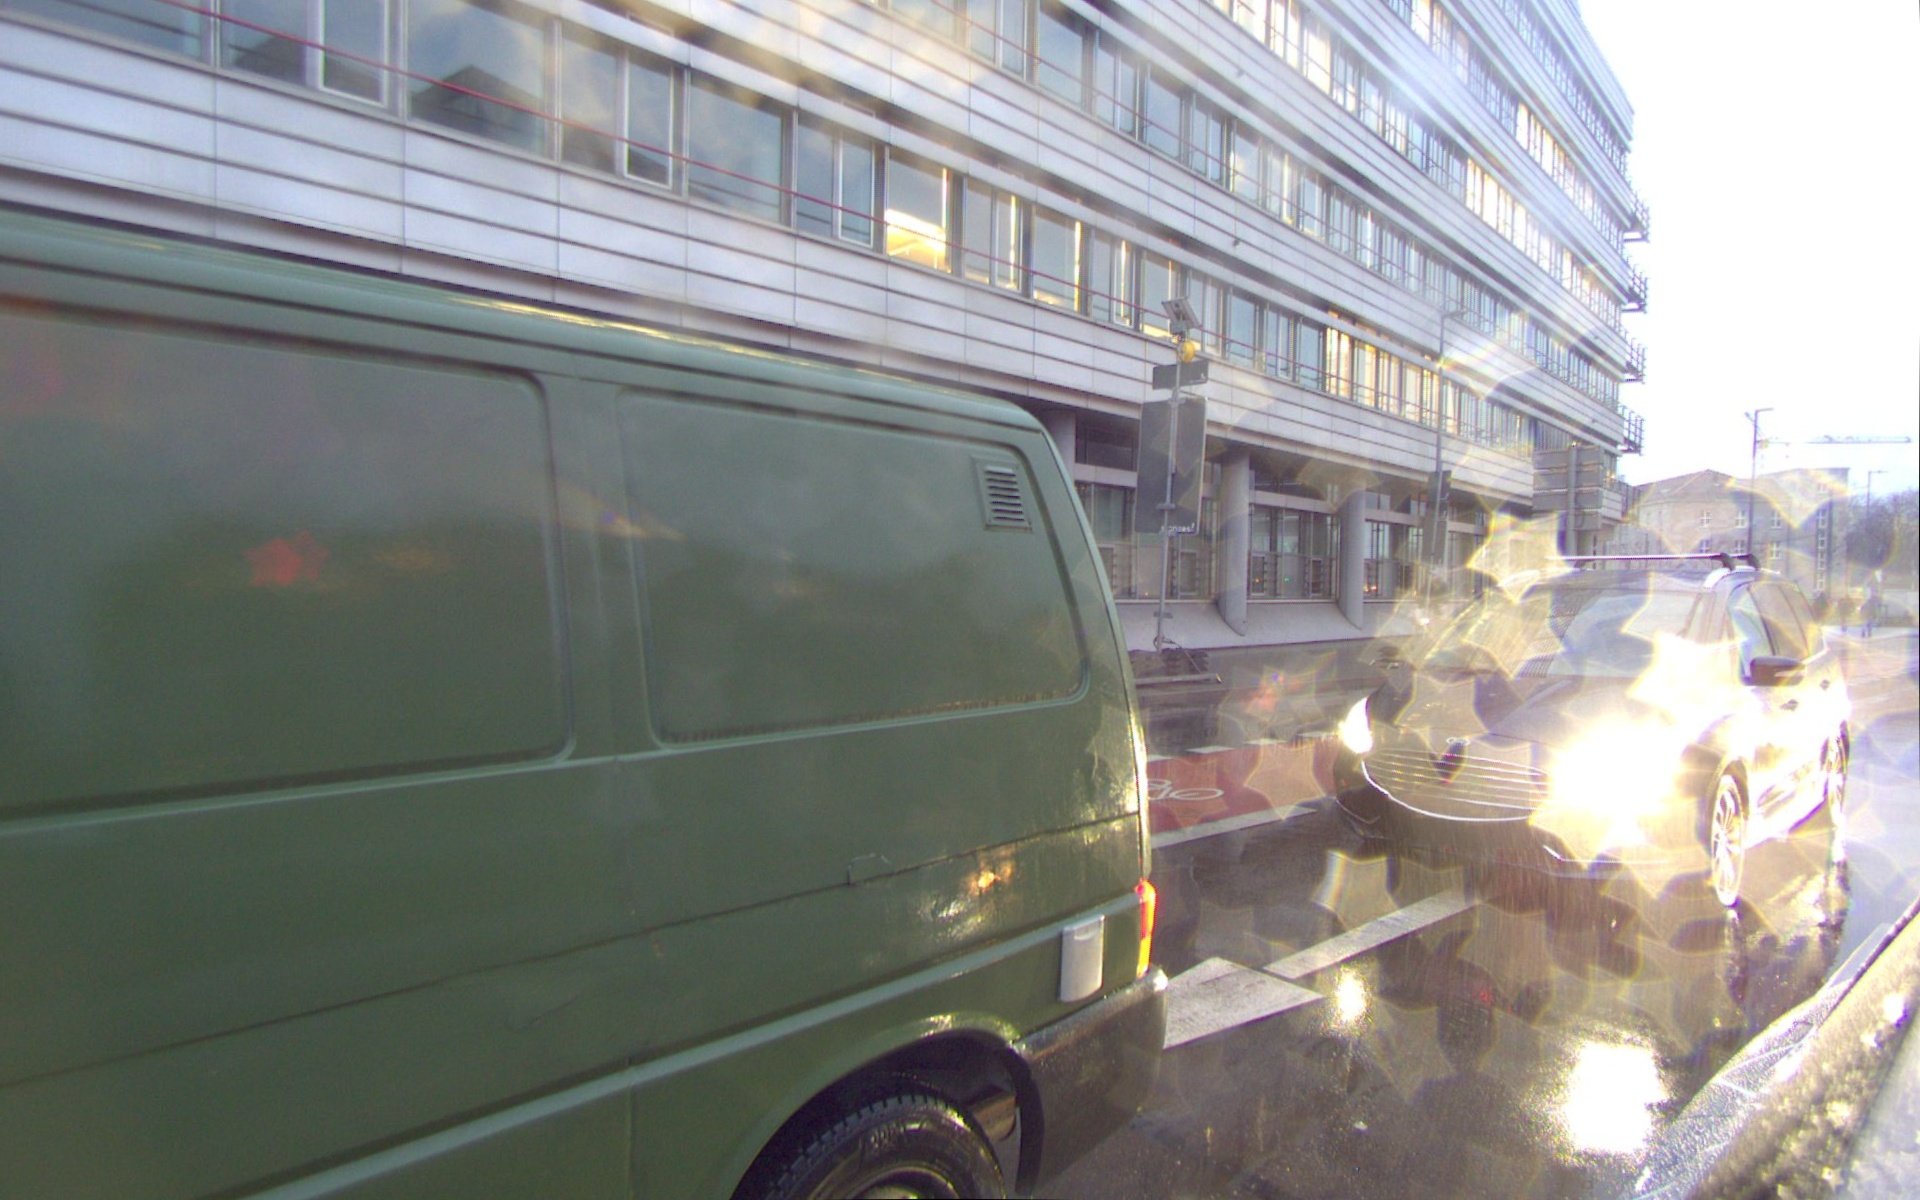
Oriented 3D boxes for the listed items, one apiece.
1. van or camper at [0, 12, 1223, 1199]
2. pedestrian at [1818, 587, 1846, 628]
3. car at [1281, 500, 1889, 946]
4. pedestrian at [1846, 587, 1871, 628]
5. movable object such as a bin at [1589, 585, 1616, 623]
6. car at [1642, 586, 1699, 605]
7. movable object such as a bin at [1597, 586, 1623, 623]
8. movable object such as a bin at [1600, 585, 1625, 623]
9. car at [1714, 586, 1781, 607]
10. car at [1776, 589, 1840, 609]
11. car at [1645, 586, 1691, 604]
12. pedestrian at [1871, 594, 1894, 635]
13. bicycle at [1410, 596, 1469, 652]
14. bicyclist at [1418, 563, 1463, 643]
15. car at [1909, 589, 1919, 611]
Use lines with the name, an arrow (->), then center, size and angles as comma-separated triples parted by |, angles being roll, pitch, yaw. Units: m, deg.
van or camper -> -1.671, 0.452, 1.305 | 4.341, 1.931, 1.760 | 0, 0, -41
pedestrian -> 38.756, 0.324, 44.968 | 0.953, 1.722, 0.746 | 0, 4, -44
car -> 4.144, 0.497, 6.362 | 4.587, 1.834, 1.887 | 0, 0, -39
pedestrian -> 38.977, 0.307, 43.911 | 0.870, 1.723, 0.650 | 0, 3, -44
movable object such as a bin -> 24.848, 0.149, 39.141 | 0.826, 1.446, 0.665 | 0, 1, -44
car -> 68.631, -0.463, 97.837 | 1.958, 1.693, 4.013 | 0, 1, -24
movable object such as a bin -> 25.508, 0.164, 39.725 | 0.826, 1.446, 0.665 | 0, 1, -44
movable object such as a bin -> 26.082, 0.162, 40.459 | 0.826, 1.495, 0.665 | 0, 1, -44
car -> 71.085, -0.314, 91.401 | 1.958, 1.782, 4.386 | 0, 1, -24
car -> 72.899, -0.121, 87.027 | 1.743, 1.556, 3.775 | 1, 1, -24
car -> 77.747, -0.565, 111.191 | 1.757, 1.829, 3.741 | 1, 1, -24
pedestrian -> 39.569, 0.618, 43.414 | 0.870, 1.689, 0.615 | 0, 3, -44
bicycle -> 11.205, 0.539, 23.620 | 1.733, 1.213, 0.680 | 0, 2, -45
bicyclist -> 11.178, 0.060, 23.555 | 0.793, 1.820, 0.670 | 0, 2, -45
car -> 76.606, 0.066, 78.561 | 1.743, 1.730, 3.932 | 0, 1, -26
